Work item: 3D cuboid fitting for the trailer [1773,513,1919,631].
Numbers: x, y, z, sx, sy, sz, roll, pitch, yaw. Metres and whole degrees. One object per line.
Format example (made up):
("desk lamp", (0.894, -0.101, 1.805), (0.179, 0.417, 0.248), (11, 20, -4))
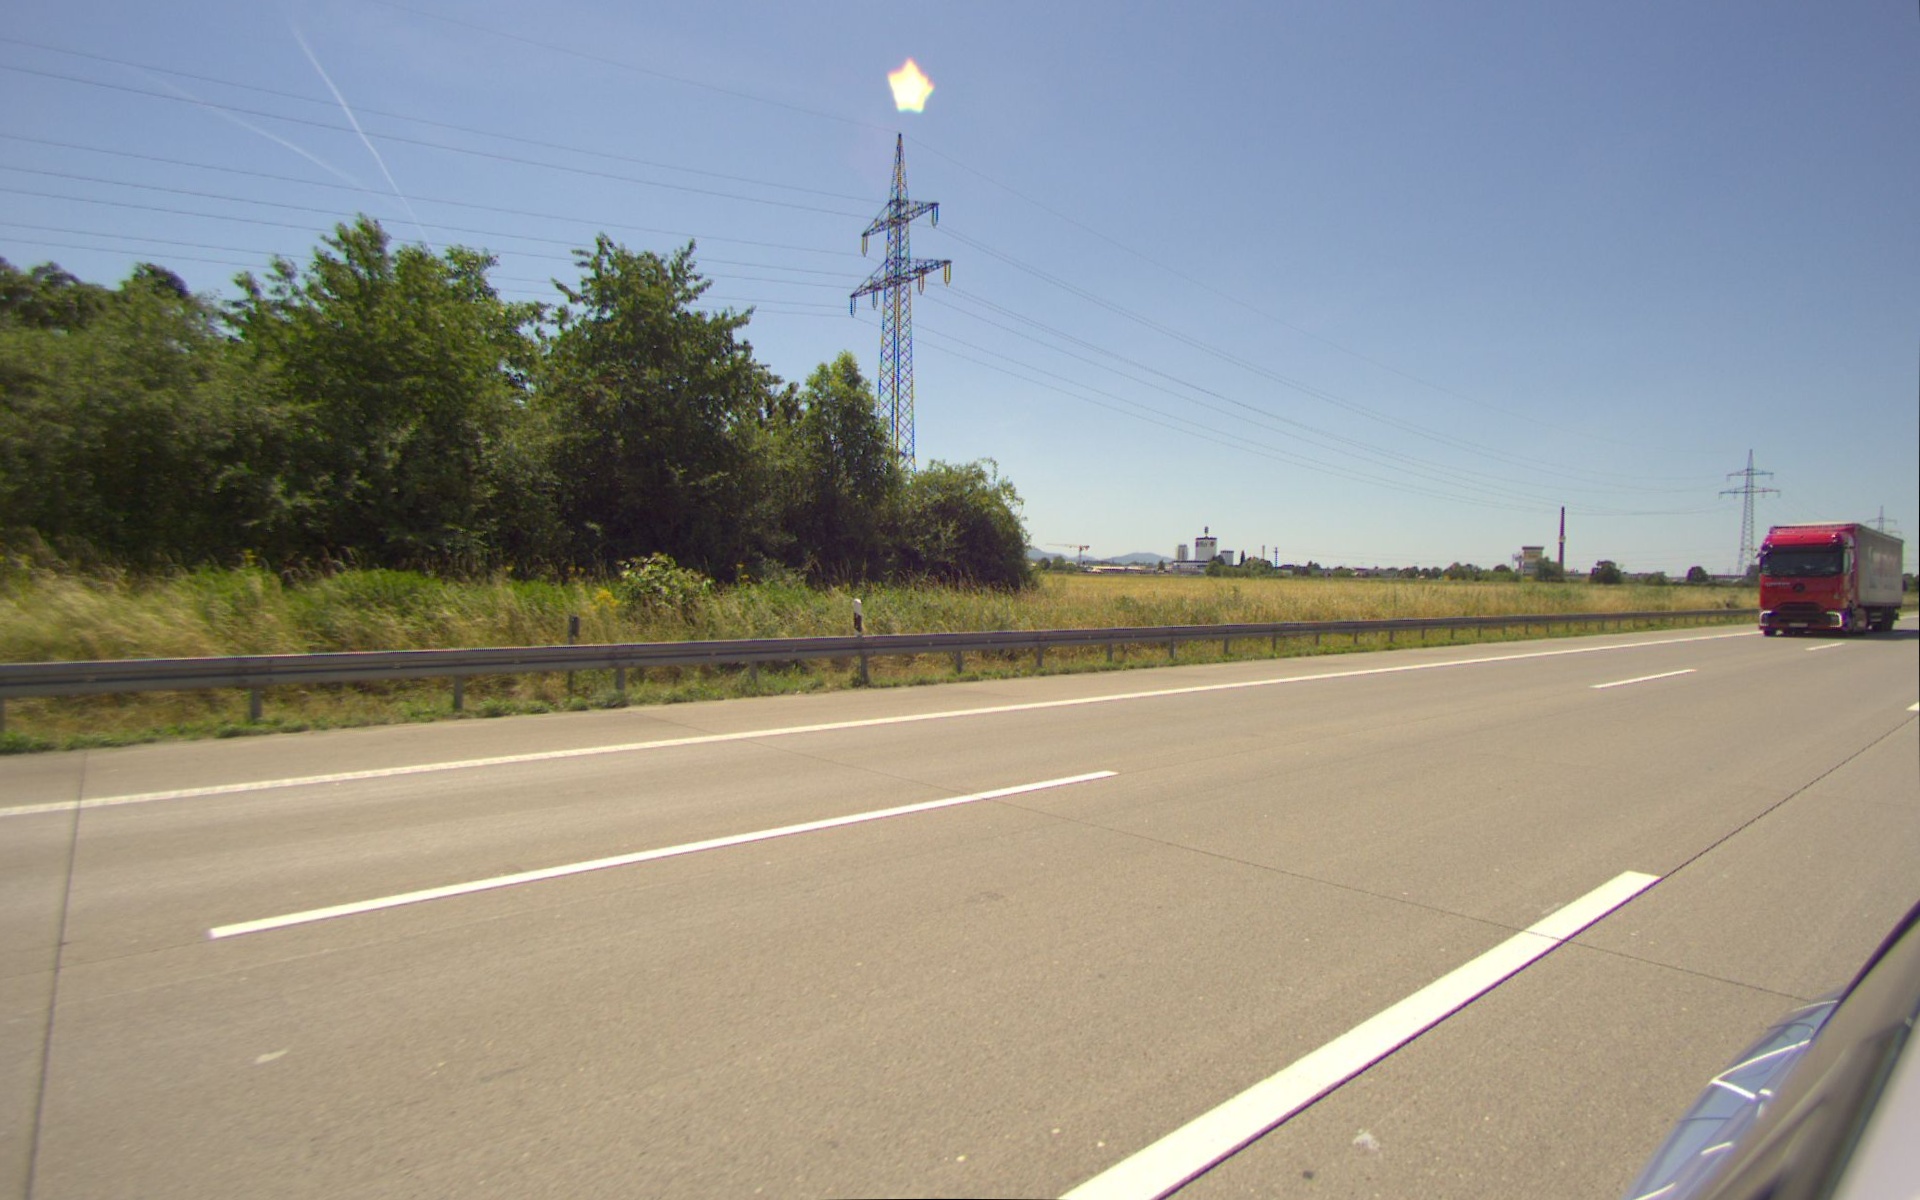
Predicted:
("trailer", (36.806, -1.086, 41.572), (13.569, 4.198, 2.957), (-1, 0, -41))

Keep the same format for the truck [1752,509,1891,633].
("truck", (31.748, -1.017, 37.235), (6.043, 4.198, 2.958), (-1, 0, -40))
